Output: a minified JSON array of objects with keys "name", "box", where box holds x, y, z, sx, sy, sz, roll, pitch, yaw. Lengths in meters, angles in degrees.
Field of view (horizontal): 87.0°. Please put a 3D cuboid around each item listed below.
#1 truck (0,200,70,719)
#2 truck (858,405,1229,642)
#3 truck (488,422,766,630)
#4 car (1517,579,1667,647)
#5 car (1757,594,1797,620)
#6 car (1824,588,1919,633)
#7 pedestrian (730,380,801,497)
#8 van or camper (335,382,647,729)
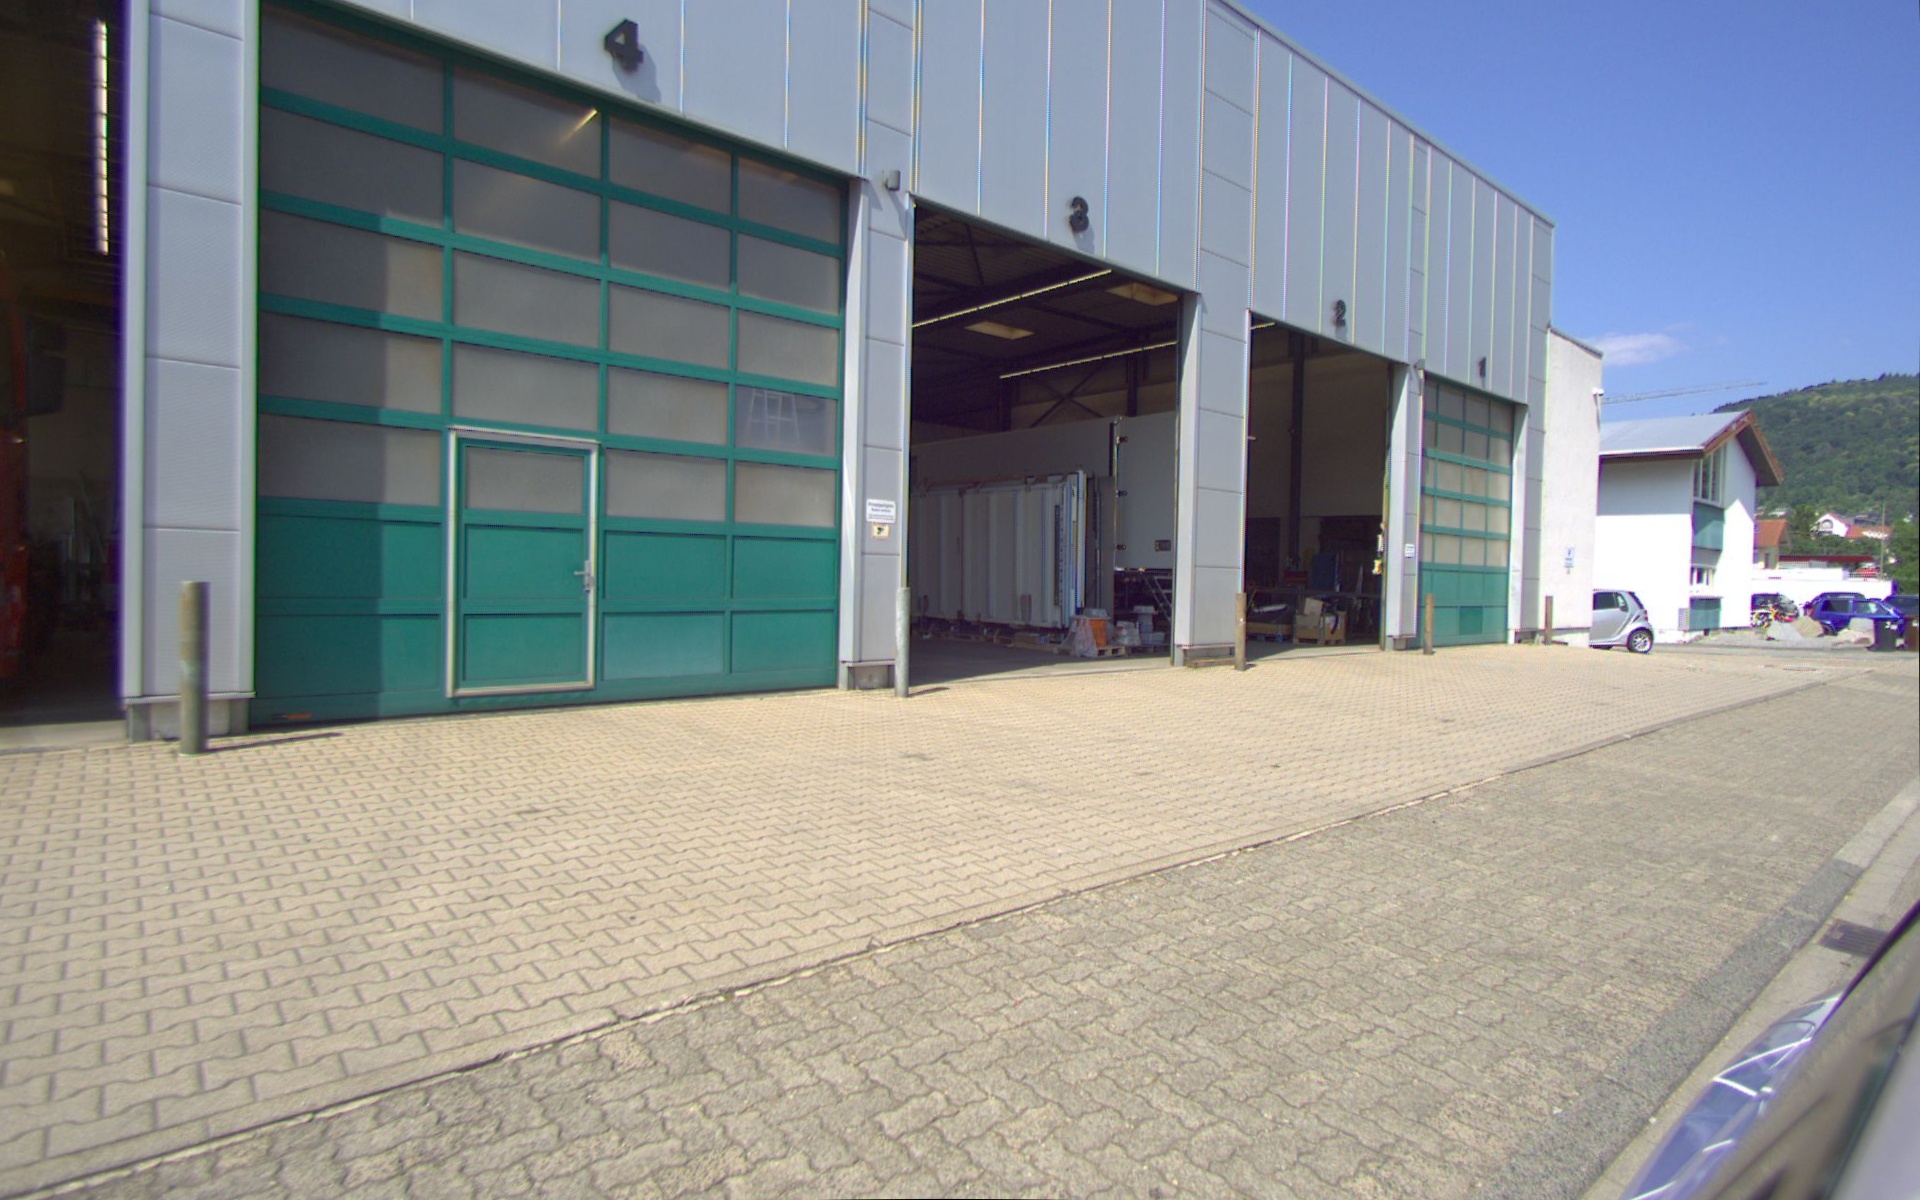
[{"name":"truck","box":[-9.812,-1.089,9.076,2.435,3.446,7.970,0,3,-39]},{"name":"truck","box":[1.261,-1.411,20.200,2.578,3.828,7.854,0,2,-39]},{"name":"truck","box":[-7.117,-1.412,20.786,2.720,3.501,7.569,0,2,-41]},{"name":"car","box":[15.407,0.306,24.742,2.771,1.553,1.312,2,0,3]},{"name":"car","box":[47.065,0.374,58.277,3.135,1.396,1.449,-1,0,-44]},{"name":"car","box":[29.313,0.323,31.911,1.427,1.357,2.974,-1,0,-40]},{"name":"pedestrian","box":[-2.139,-1.752,11.104,0.487,1.185,0.610,0,2,-45]},{"name":"van or camper","box":[-5.757,-0.498,12.018,1.966,3.245,5.050,-1,2,-42]}]
